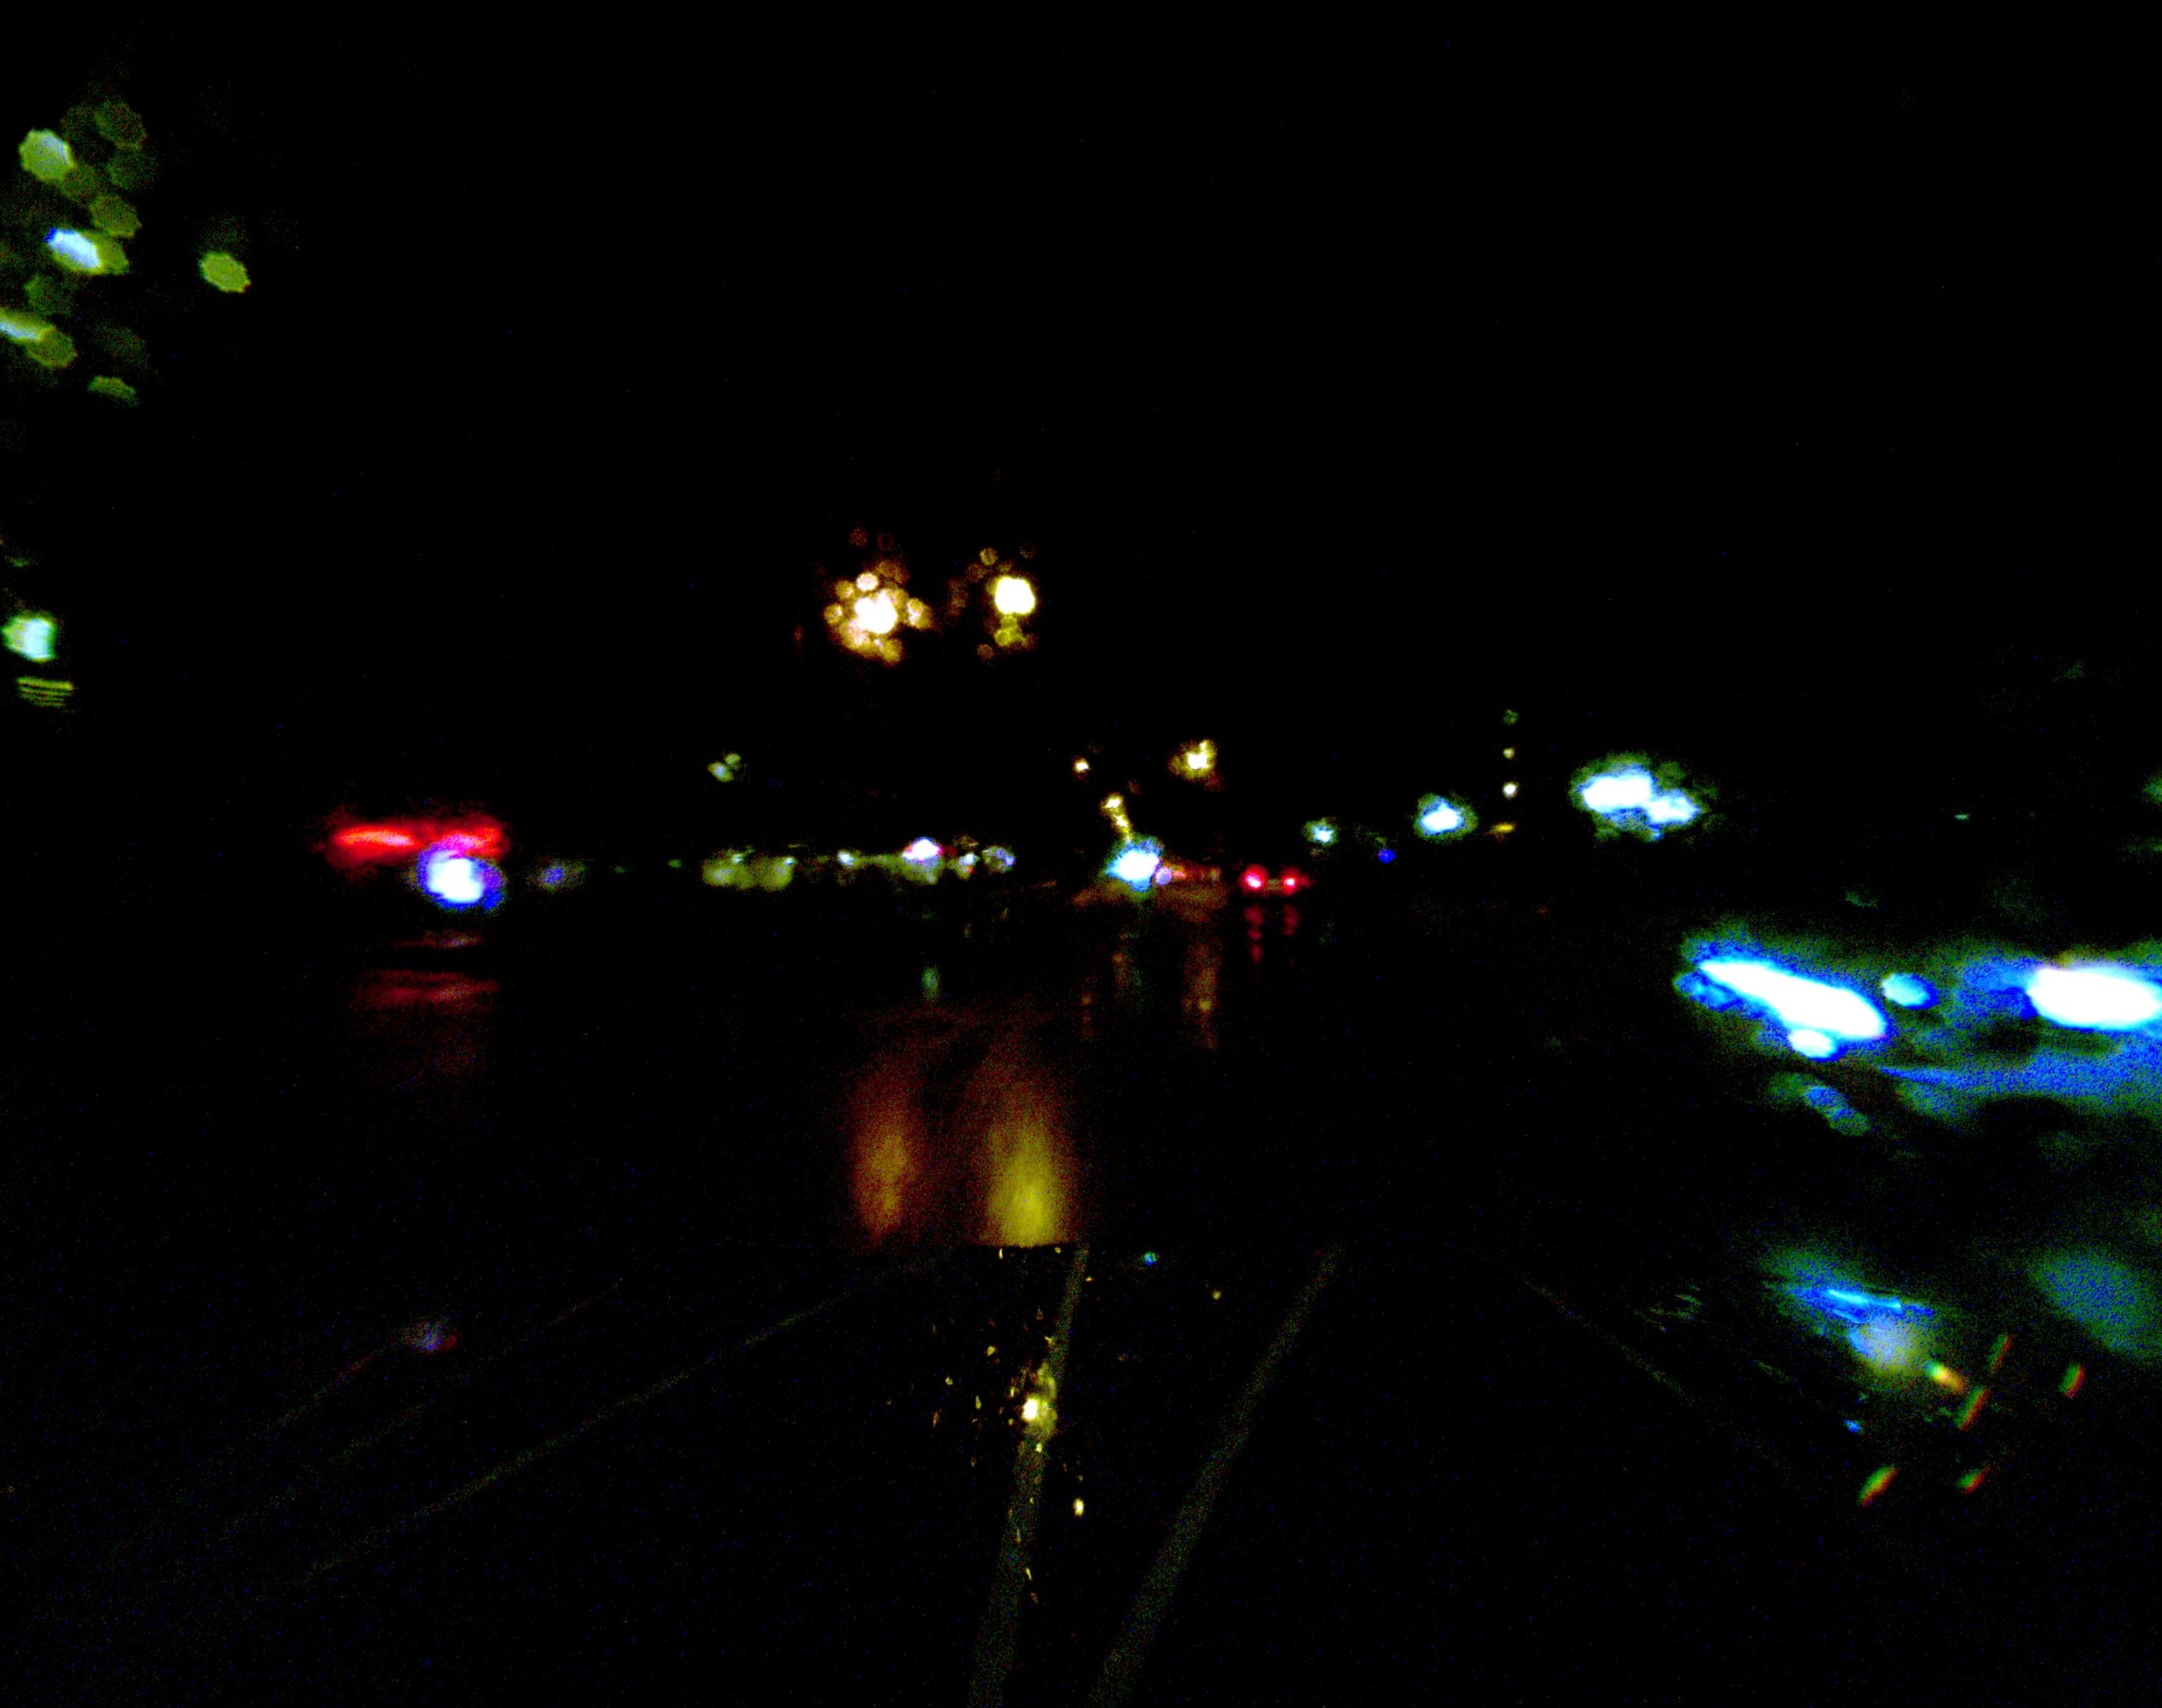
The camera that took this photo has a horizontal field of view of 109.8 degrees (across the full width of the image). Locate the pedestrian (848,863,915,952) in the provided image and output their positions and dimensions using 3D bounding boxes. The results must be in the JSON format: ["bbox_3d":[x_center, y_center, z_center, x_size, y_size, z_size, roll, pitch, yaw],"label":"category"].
[{"bbox_3d":[-4.219,1.110,16.122,1.110,1.815,0.851,-1,-1,4],"label":"pedestrian"}]

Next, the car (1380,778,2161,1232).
[{"bbox_3d":[4.260,0.718,5.878,2.039,1.941,5.202,-1,-1,3],"label":"car"}]

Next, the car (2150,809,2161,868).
[{"bbox_3d":[50.489,-0.747,33.575,1.715,2.715,4.362,-2,0,23],"label":"car"}]

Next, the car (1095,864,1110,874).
[{"bbox_3d":[3.049,2.116,107.351,1.826,1.413,4.490,-1,0,4],"label":"car"}]

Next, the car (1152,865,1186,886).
[{"bbox_3d":[6.714,1.673,58.519,1.857,1.490,4.769,-1,-1,-2],"label":"car"}]

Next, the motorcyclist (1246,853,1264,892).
[{"bbox_3d":[9.128,0.960,39.871,0.694,2.001,0.983,-1,-1,3],"label":"motorcyclist"}]

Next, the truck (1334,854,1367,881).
[{"bbox_3d":[20.747,1.034,58.393,2.125,2.001,5.271,-2,-1,22],"label":"truck"}]

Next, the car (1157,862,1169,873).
[{"bbox_3d":[11.772,1.902,109.144,1.601,1.595,4.260,1,0,5],"label":"car"}]

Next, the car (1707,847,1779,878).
[{"bbox_3d":[34.709,0.405,39.956,1.715,1.511,3.925,-2,-1,23],"label":"car"}]

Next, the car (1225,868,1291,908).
[{"bbox_3d":[7.143,1.356,30.992,1.650,1.502,4.109,1,-1,-1],"label":"car"}]

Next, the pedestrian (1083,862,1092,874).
[{"bbox_3d":[0.870,1.845,98.940,1.052,1.566,1.019,-2,0,9],"label":"pedestrian"}]

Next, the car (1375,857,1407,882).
[{"bbox_3d":[19.228,0.915,47.027,1.715,1.423,3.925,-2,-1,23],"label":"car"}]

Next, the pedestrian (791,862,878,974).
[{"bbox_3d":[-4.127,1.049,12.787,1.109,1.815,0.851,-1,-1,6],"label":"pedestrian"}]

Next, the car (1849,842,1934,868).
[{"bbox_3d":[49.407,0.050,46.435,1.866,1.434,4.501,-2,-1,23],"label":"car"}]

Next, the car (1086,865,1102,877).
[{"bbox_3d":[1.791,2.290,102.433,1.826,1.521,4.784,-1,0,4],"label":"car"}]

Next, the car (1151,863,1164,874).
[{"bbox_3d":[10.379,1.921,103.554,1.601,1.478,4.276,1,0,5],"label":"car"}]

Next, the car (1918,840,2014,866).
[{"bbox_3d":[52.071,-0.065,44.831,1.866,1.434,4.501,-2,-1,23],"label":"car"}]
